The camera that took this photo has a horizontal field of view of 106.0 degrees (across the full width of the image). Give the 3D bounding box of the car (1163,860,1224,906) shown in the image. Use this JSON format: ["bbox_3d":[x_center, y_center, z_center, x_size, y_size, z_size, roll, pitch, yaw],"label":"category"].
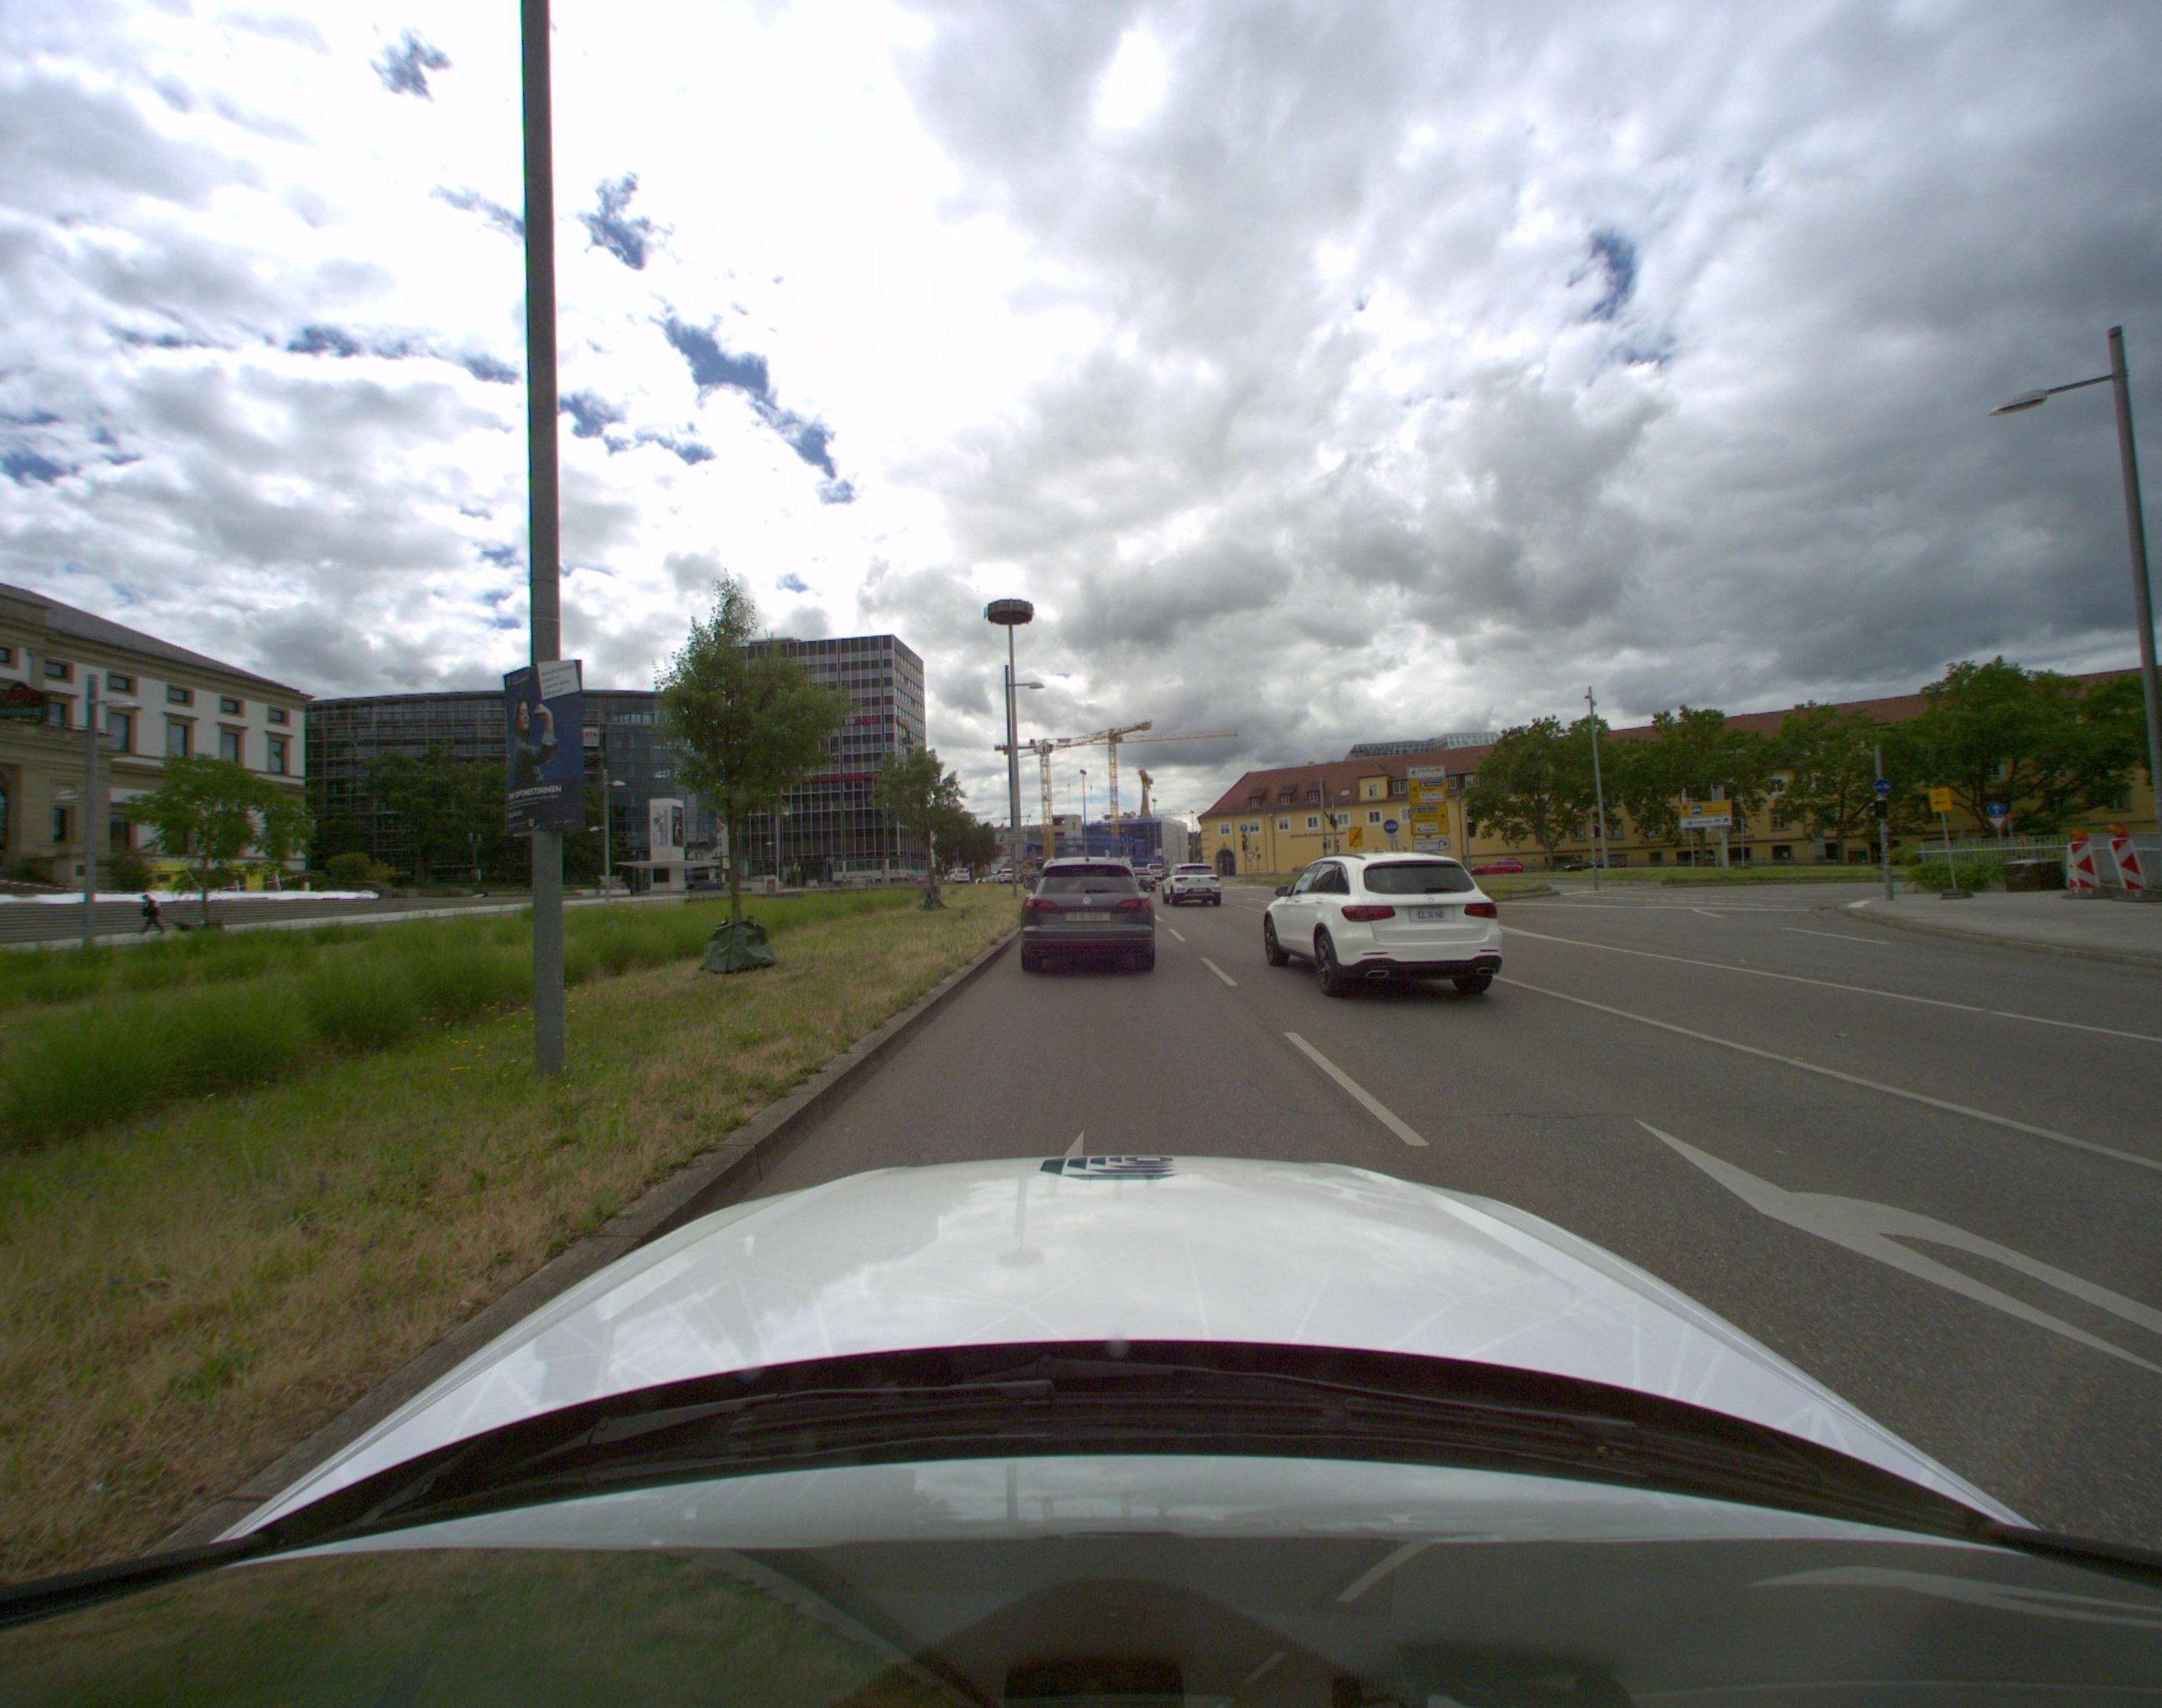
[{"bbox_3d":[4.188,1.068,30.844,1.886,1.585,3.802,-1,-1,2],"label":"car"}]

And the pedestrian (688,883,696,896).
[{"bbox_3d":[-34.889,3.178,73.002,0.473,1.081,0.560,-1,-2,3],"label":"pedestrian"}]

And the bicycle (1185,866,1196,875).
[{"bbox_3d":[14.152,2.142,105.192,0.921,1.159,2.462,-1,-1,-3],"label":"bicycle"}]

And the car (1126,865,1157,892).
[{"bbox_3d":[3.565,1.406,48.705,1.712,1.502,4.146,-1,-1,3],"label":"car"}]

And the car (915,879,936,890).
[{"bbox_3d":[-21.259,4.123,111.116,1.728,1.502,3.946,-1,-1,-26],"label":"car"}]

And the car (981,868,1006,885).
[{"bbox_3d":[-10.844,2.757,100.502,1.902,1.610,3.970,-4,3,-23],"label":"car"}]

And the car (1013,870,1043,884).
[{"bbox_3d":[-5.587,2.390,85.775,1.651,1.397,3.560,-1,-1,-32],"label":"car"}]

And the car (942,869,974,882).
[{"bbox_3d":[-15.410,2.660,101.541,2.261,1.502,4.563,-1,-1,-33],"label":"car"}]

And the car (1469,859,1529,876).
[{"bbox_3d":[37.698,1.216,73.414,4.632,1.421,1.607,-3,-2,33],"label":"car"}]

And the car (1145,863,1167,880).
[{"bbox_3d":[7.089,1.648,77.546,1.796,1.502,3.982,-1,-1,2],"label":"car"}]

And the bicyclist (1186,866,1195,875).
[{"bbox_3d":[14.148,2.160,105.196,0.921,1.159,0.724,-1,-2,-3],"label":"bicyclist"}]

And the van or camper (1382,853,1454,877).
[{"bbox_3d":[31.981,1.055,77.479,5.946,2.014,2.032,-3,-2,37],"label":"van or camper"}]

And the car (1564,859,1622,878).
[{"bbox_3d":[43.704,1.241,69.546,4.037,1.414,1.670,-3,-2,33],"label":"car"}]

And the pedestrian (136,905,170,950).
[{"bbox_3d":[-35.673,2.810,31.308,0.522,1.649,0.650,-1,-2,0],"label":"pedestrian"}]

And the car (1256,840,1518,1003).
[{"bbox_3d":[3.653,0.730,10.677,1.813,1.647,4.379,-1,-1,1],"label":"car"}]

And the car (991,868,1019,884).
[{"bbox_3d":[-7.462,2.161,79.877,1.820,1.496,3.879,-1,-1,-20],"label":"car"}]

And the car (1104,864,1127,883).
[{"bbox_3d":[2.913,1.625,68.178,1.711,1.502,3.985,-1,-1,4],"label":"car"}]

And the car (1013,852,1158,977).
[{"bbox_3d":[0.111,0.837,13.022,1.926,1.647,4.001,-1,-1,1],"label":"car"}]
